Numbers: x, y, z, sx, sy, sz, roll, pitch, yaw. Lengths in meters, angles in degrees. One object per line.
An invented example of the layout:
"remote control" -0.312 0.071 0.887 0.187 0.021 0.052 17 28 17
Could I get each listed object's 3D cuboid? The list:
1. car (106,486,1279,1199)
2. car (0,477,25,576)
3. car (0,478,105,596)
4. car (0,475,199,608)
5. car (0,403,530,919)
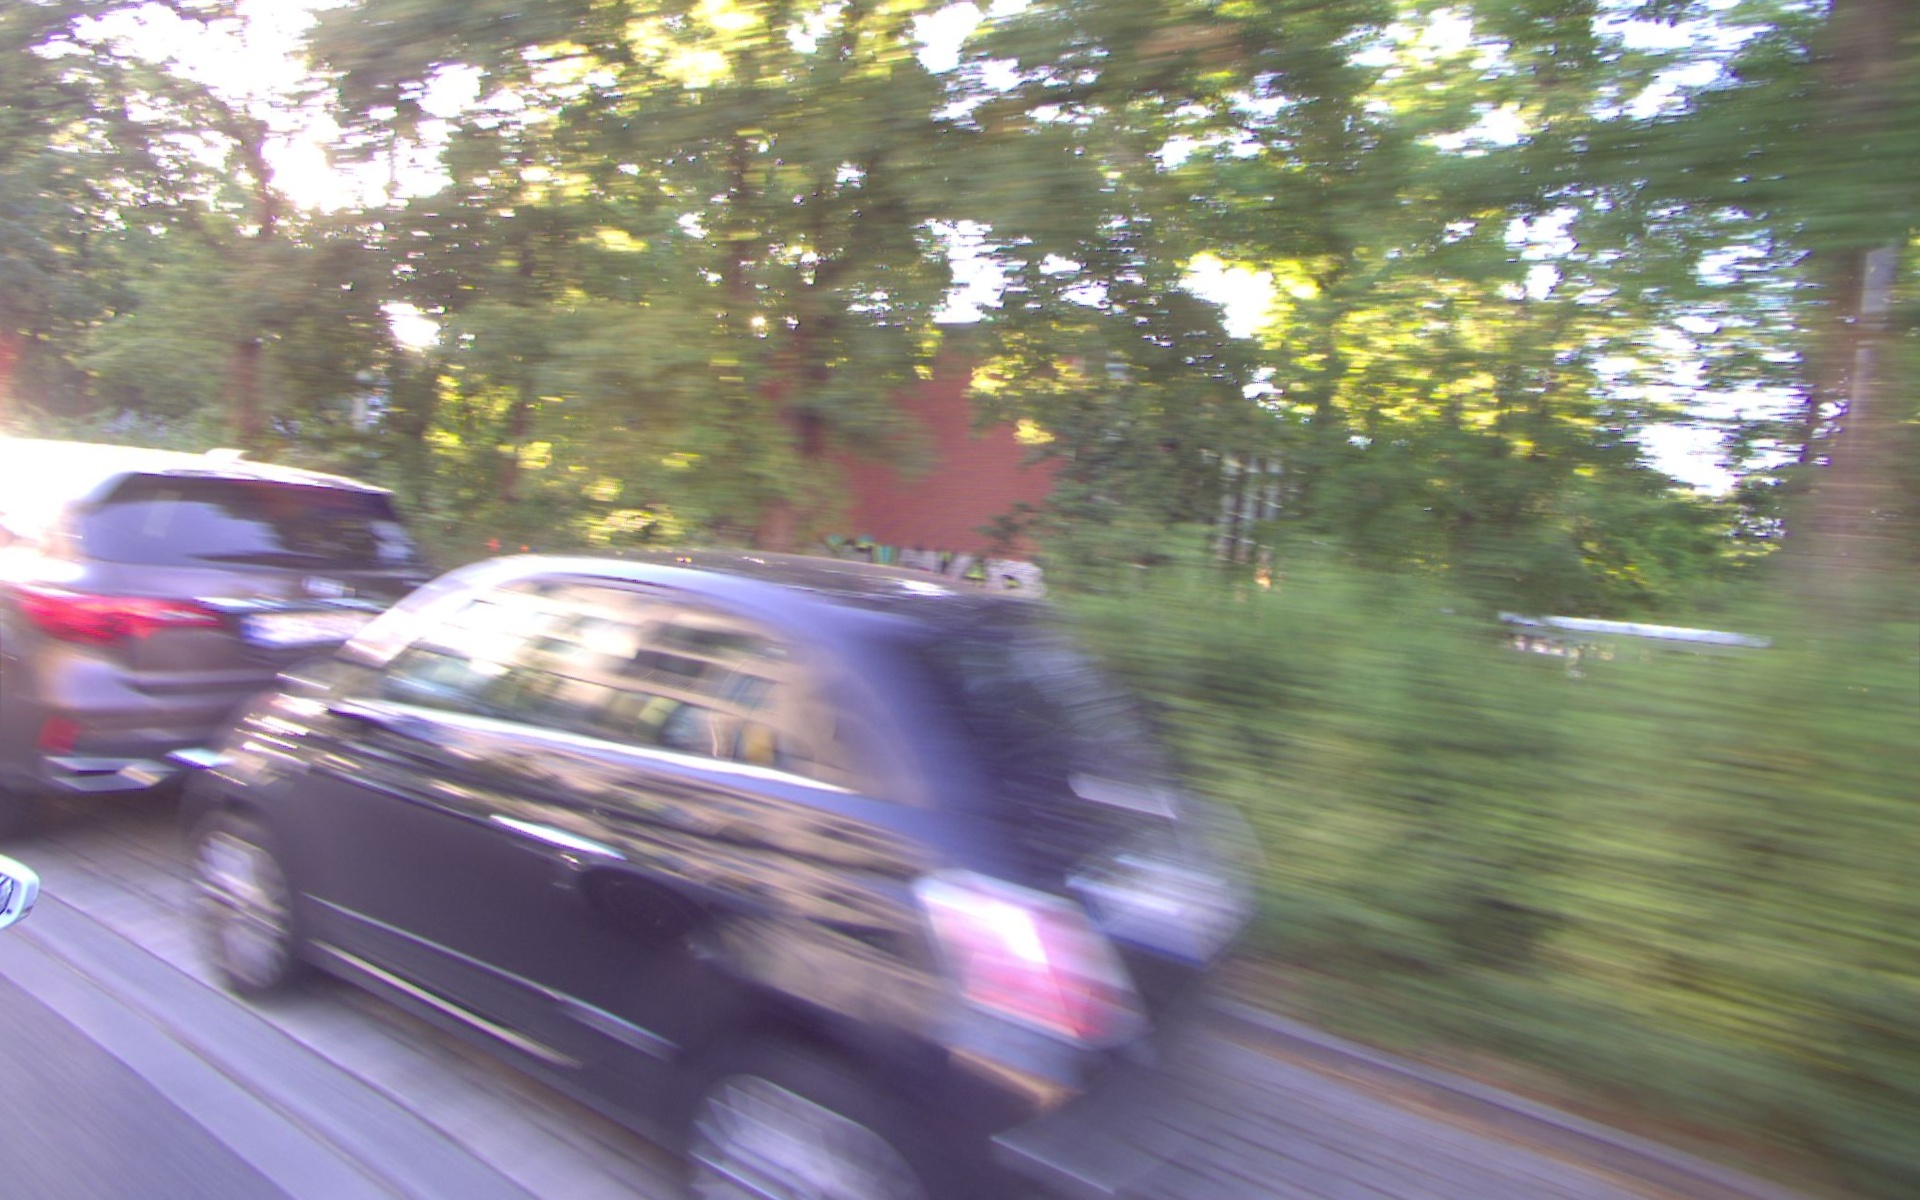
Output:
"car" -0.963 0.579 3.195 3.361 1.506 1.621 7 2 31
"car" -16.683 -1.323 15.245 1.645 1.545 3.384 6 1 36
"car" -14.516 -1.046 14.036 1.646 1.560 3.624 8 1 38
"car" -12.369 -0.833 12.774 1.713 1.531 3.946 7 2 37
"car" -4.710 0.013 5.385 4.586 1.771 1.924 7 2 29
